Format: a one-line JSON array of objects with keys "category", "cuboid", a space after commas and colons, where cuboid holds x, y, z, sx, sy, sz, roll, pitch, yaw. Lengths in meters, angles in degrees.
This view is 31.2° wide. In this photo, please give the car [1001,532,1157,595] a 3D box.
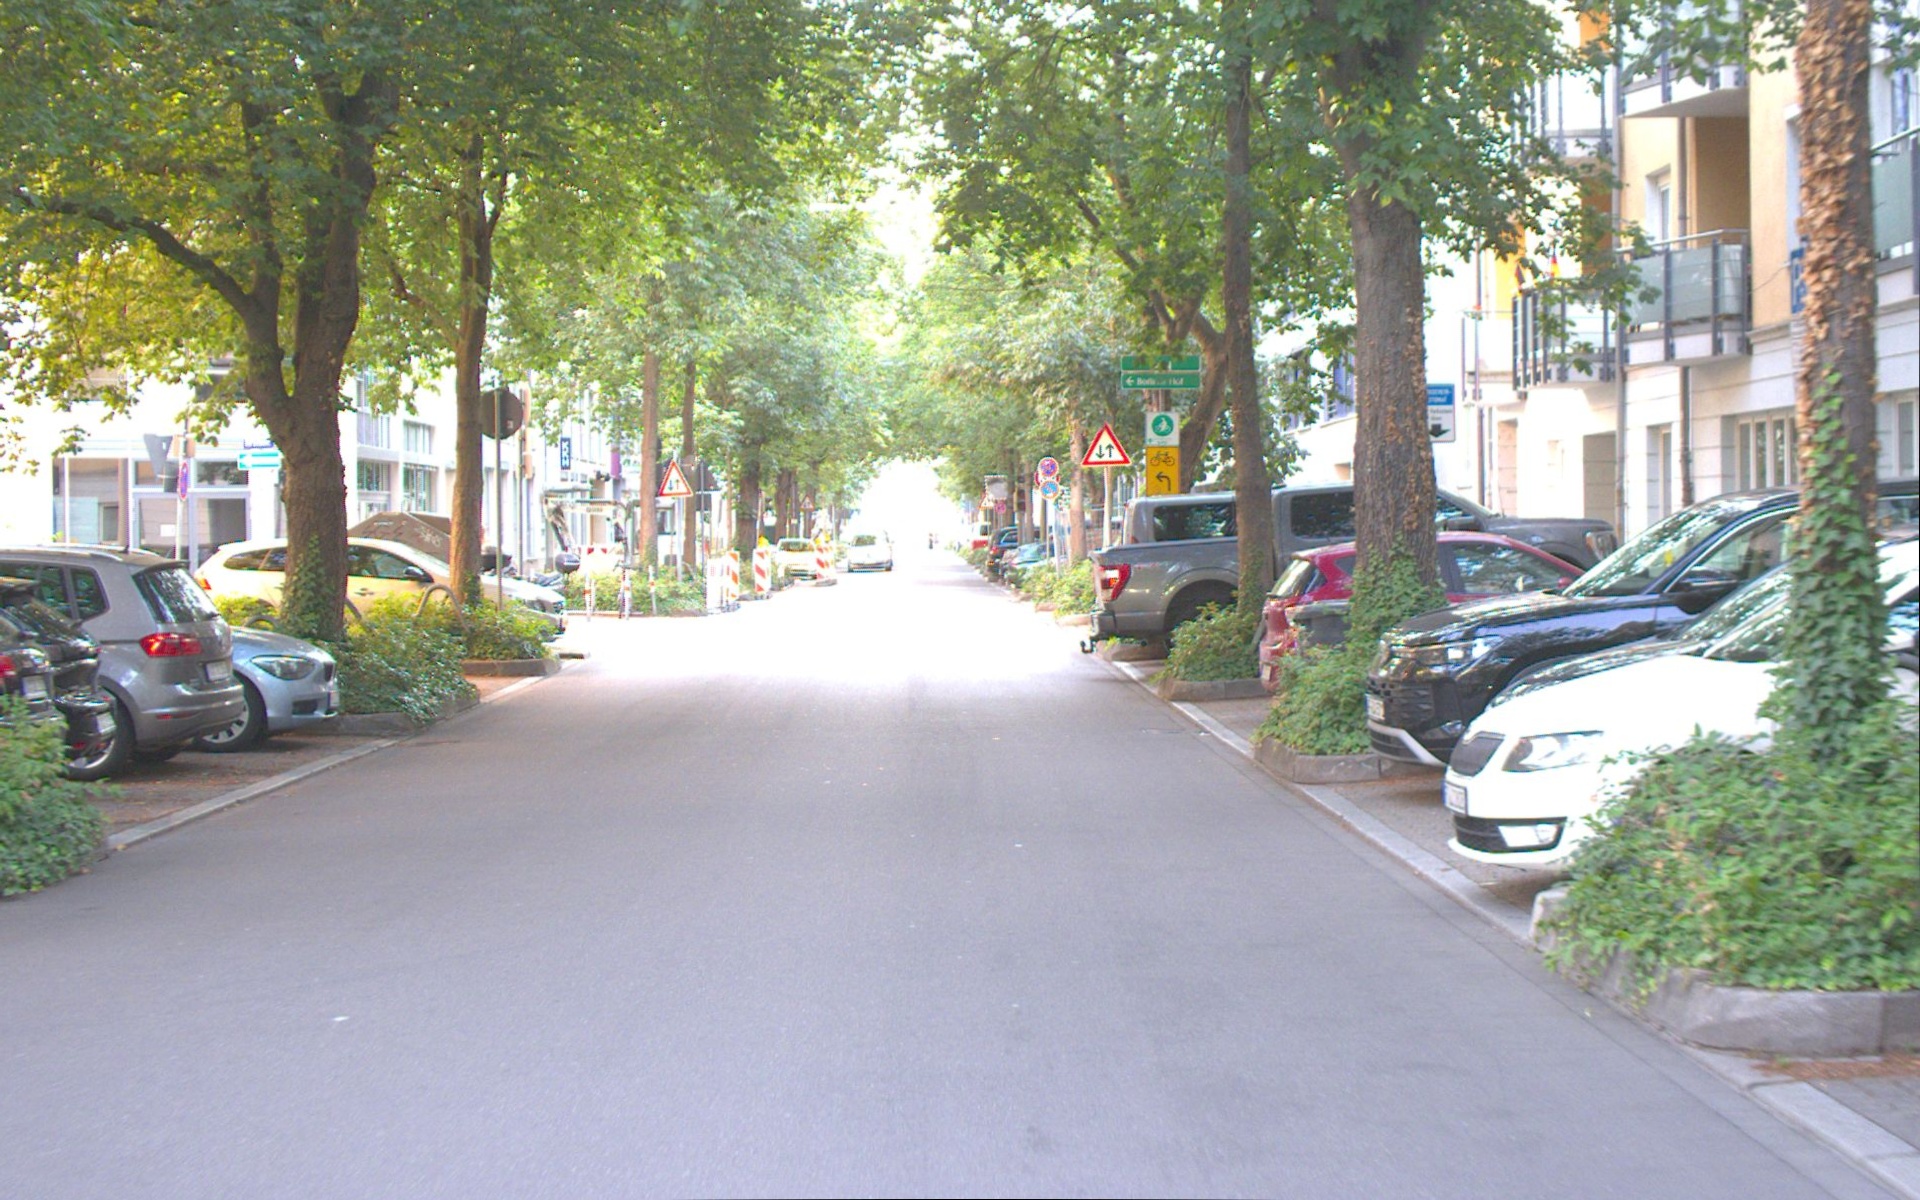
[{"category": "car", "cuboid": [3.088, -0.956, 89.237, 3.987, 1.579, 2.000, -1, 1, 1]}]

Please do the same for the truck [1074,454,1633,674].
[{"category": "truck", "cuboid": [4.235, -0.402, 37.826, 5.888, 2.303, 2.212, 0, 1, 0]}]

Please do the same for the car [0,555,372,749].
[{"category": "car", "cuboid": [-6.875, 0.384, 26.733, 4.287, 1.425, 1.879, 0, 1, 0]}]

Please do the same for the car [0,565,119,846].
[{"category": "car", "cuboid": [-6.879, 0.561, 19.061, 3.986, 1.459, 1.922, 0, 1, -2]}]

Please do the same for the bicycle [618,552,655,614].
[{"category": "bicycle", "cuboid": [-6.209, -0.334, 65.938, 0.683, 1.148, 1.981, -1, 2, -6]}]

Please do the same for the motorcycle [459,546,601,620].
[{"category": "motorcycle", "cuboid": [-7.785, -0.324, 62.316, 2.350, 1.277, 1.067, -2, 2, -41]}]

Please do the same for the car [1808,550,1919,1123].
[{"category": "car", "cuboid": [4.475, 0.489, 8.598, 4.082, 1.446, 1.935, -4, 1, -6]}]

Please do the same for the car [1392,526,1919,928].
[{"category": "car", "cuboid": [4.300, 0.421, 14.622, 4.599, 1.463, 1.796, -3, 1, -1]}]

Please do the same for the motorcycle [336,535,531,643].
[{"category": "motorcycle", "cuboid": [-7.067, -0.149, 46.200, 2.453, 1.415, 0.911, -1, 1, 2]}]

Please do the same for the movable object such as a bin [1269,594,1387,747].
[{"category": "movable object such as a bin", "cuboid": [2.739, 0.518, 25.660, 0.760, 1.080, 0.785, -2, 1, 1]}]

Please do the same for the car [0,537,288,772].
[{"category": "car", "cuboid": [-6.937, 0.356, 24.104, 3.987, 1.560, 1.929, 0, 1, 5]}]

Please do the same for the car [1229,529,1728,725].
[{"category": "car", "cuboid": [4.189, 0.193, 28.215, 3.776, 1.539, 1.878, 0, 1, -2]}]

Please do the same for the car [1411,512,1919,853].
[{"category": "car", "cuboid": [4.520, 0.314, 17.202, 4.224, 1.433, 1.929, -4, 1, 2]}]

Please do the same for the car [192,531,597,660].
[{"category": "car", "cuboid": [-6.927, -0.071, 42.489, 4.619, 1.547, 2.075, 0, 1, 2]}]

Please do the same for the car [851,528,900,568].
[{"category": "car", "cuboid": [-3.474, -2.155, 141.082, 2.009, 1.607, 4.120, 0, 1, -2]}]

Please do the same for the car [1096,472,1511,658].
[{"category": "car", "cuboid": [3.992, -0.426, 40.569, 4.600, 2.059, 2.198, -1, 1, -1]}]

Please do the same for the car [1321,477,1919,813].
[{"category": "car", "cuboid": [4.601, 0.171, 19.793, 4.641, 1.612, 2.010, -4, 1, -4]}]

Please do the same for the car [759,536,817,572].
[{"category": "car", "cuboid": [-6.300, -1.686, 125.484, 1.993, 1.284, 4.001, -1, 1, -5]}]

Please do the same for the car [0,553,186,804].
[{"category": "car", "cuboid": [-7.005, 0.472, 21.440, 3.986, 1.485, 1.826, 0, 1, -3]}]

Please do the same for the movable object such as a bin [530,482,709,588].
[{"category": "movable object such as a bin", "cuboid": [-7.969, -1.533, 80.445, 4.045, 2.375, 2.785, -1, 2, -6]}]

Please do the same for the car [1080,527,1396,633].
[{"category": "car", "cuboid": [4.178, -0.321, 52.249, 4.621, 1.566, 2.011, 0, 1, -1]}]
